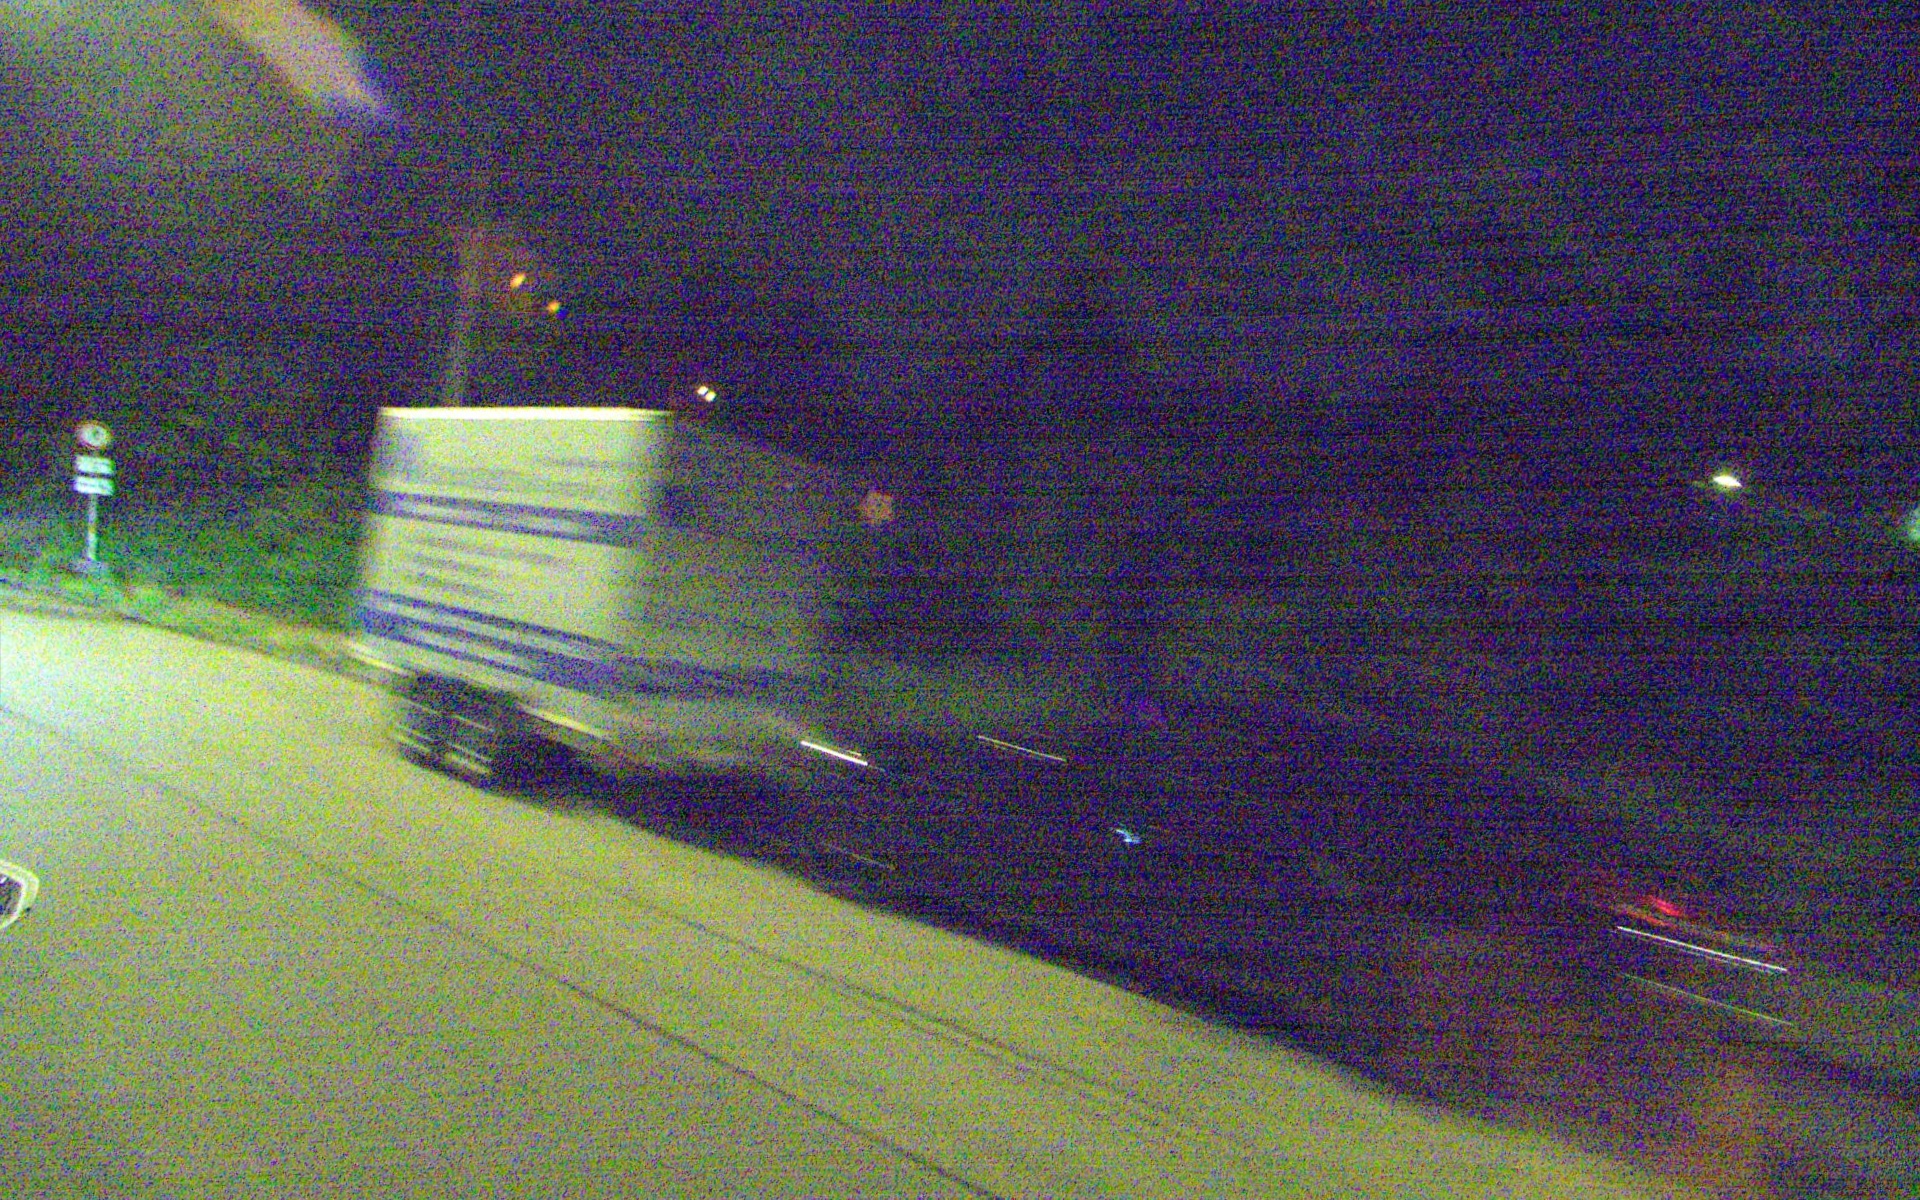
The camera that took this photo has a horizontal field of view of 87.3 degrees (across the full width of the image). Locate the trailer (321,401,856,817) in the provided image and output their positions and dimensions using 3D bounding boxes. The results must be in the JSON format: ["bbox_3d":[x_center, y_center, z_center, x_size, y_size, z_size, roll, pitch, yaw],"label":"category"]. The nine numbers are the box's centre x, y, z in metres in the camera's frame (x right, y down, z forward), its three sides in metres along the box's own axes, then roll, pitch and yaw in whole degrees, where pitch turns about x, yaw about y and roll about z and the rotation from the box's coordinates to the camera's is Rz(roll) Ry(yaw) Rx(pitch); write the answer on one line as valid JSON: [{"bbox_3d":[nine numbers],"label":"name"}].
[{"bbox_3d":[-3.175,-0.015,8.387,3.937,2.681,1.996,7,-2,35],"label":"trailer"}]

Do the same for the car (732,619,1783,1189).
[{"bbox_3d":[1.173,1.150,5.340,4.598,1.402,1.731,7,-2,31],"label":"car"}]
